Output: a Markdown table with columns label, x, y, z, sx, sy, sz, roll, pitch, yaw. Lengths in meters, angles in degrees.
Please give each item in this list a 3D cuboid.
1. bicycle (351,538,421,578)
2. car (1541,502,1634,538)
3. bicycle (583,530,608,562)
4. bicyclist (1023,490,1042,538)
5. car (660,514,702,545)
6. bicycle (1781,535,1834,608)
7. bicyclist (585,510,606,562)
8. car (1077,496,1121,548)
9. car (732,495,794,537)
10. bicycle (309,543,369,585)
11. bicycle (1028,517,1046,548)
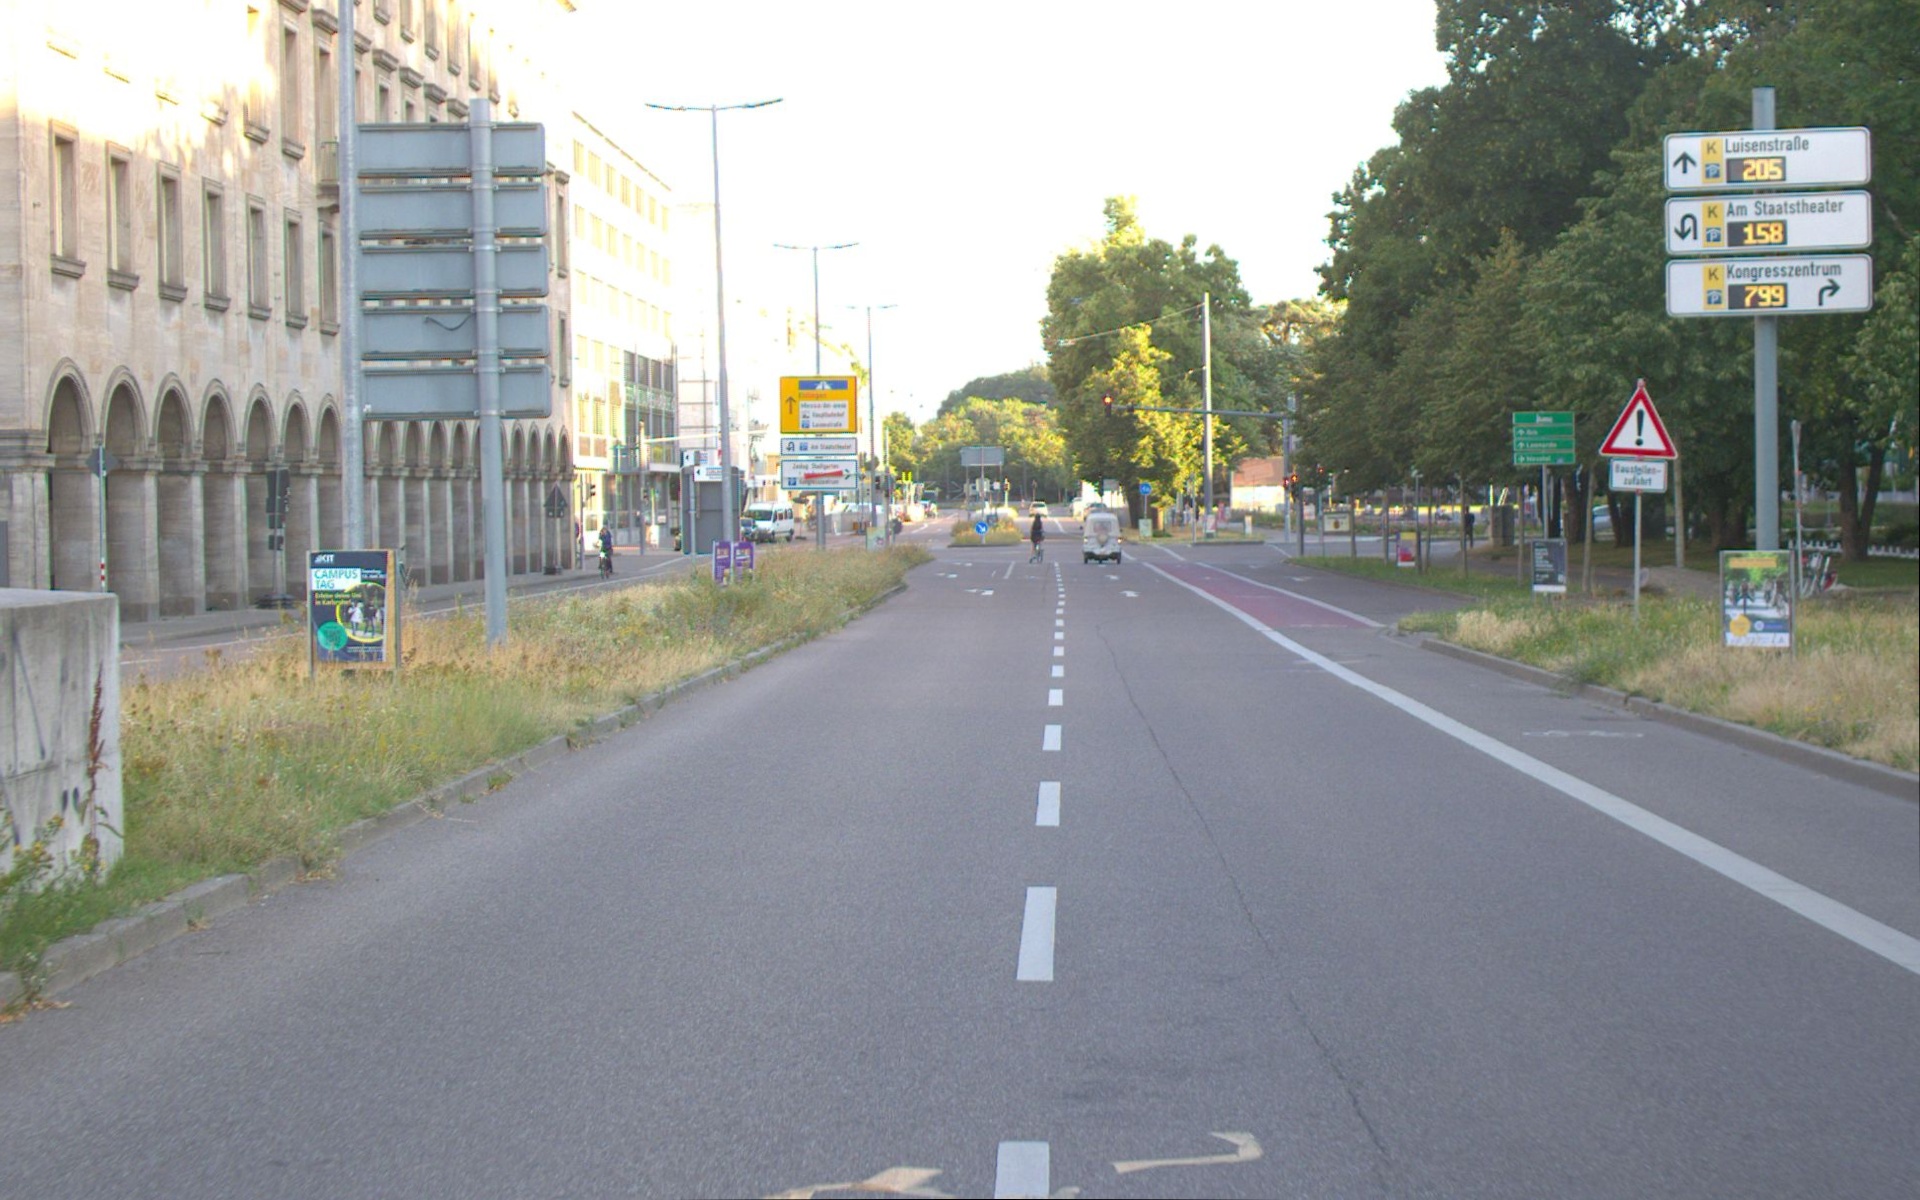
| label | x | y | z | sx | sy | sz | roll | pitch | yaw |
| --- | --- | --- | --- | --- | --- | --- | --- | --- | --- |
| bicycle | -14.966 | -1.108 | 89.625 | 0.478 | 1.002 | 2.001 | 0 | 2 | 37 |
| car | 28.666 | -3.665 | 157.129 | 3.987 | 1.568 | 2.000 | -1 | 2 | 4 |
| bicycle | -11.829 | -1.751 | 111.596 | 0.541 | 1.002 | 2.005 | -1 | 2 | 2 |
| bicyclist | 2.559 | -3.036 | 121.136 | 0.628 | 1.687 | 0.748 | -1 | 1 | 1 |
| car | -14.576 | -3.693 | 179.593 | 1.796 | 1.470 | 4.000 | -1 | -1 | 1 |
| bicycle | 12.867 | -0.440 | 52.156 | 0.495 | 1.002 | 1.896 | -3 | 1 | 21 |
| bicyclist | -11.834 | -2.084 | 111.588 | 0.536 | 1.687 | 0.748 | -1 | 1 | 1 |
| car | 4.864 | -2.728 | 120.478 | 1.459 | 1.774 | 2.564 | -1 | 2 | 4 |
| car | -12.034 | -5.123 | 210.634 | 2.178 | 2.377 | 5.986 | -1 | -1 | 13 |
| bicycle | -15.268 | -0.893 | 84.596 | 0.477 | 1.002 | 2.003 | 0 | 2 | 20 |
| bicycle | 2.727 | -2.387 | 121.333 | 0.637 | 1.065 | 2.069 | 0 | 2 | 1 |
